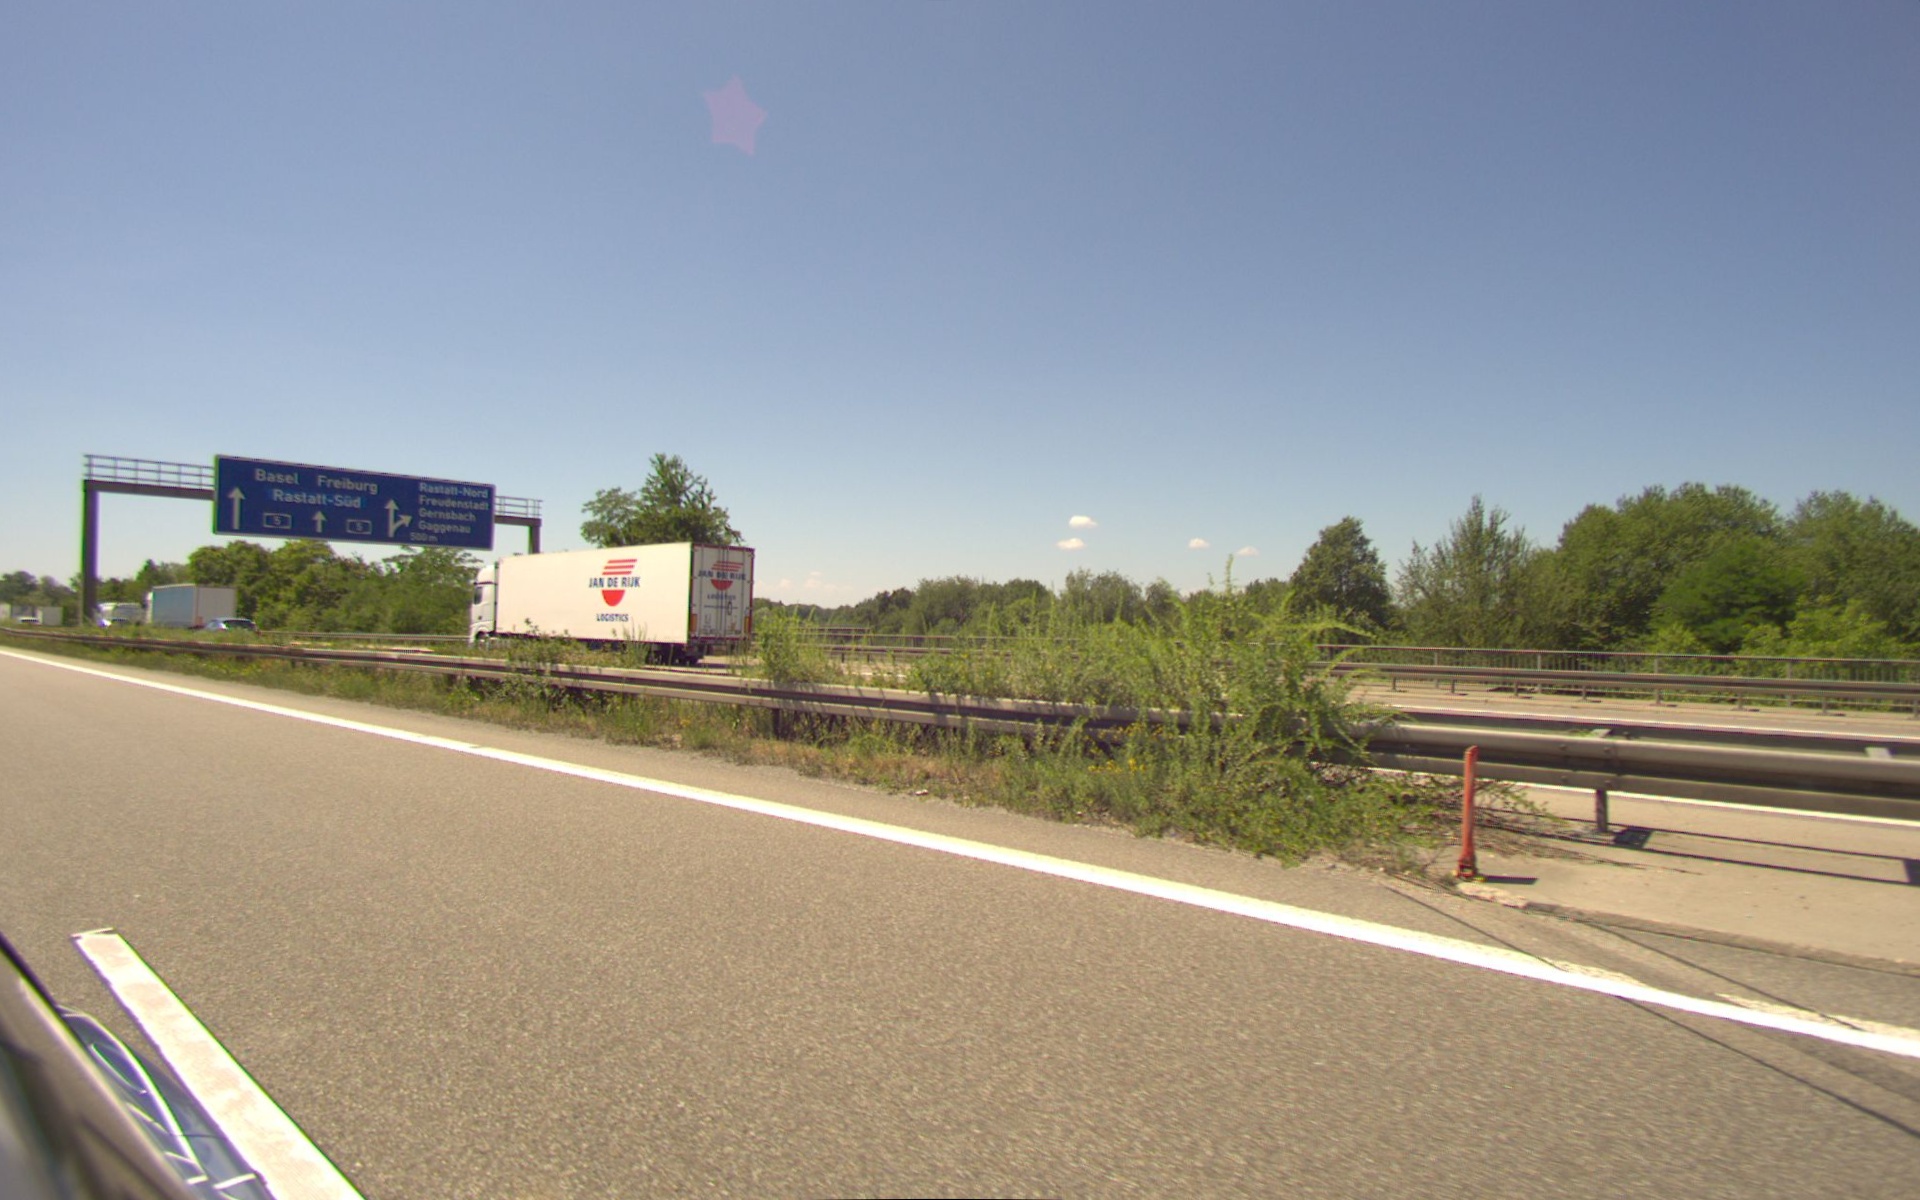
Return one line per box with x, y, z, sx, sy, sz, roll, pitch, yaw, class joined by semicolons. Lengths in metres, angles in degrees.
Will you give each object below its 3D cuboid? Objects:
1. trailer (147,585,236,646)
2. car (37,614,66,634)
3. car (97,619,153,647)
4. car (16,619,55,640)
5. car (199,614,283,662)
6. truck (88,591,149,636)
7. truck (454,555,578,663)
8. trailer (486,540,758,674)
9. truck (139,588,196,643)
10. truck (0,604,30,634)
-59.458;1.185;78.084;13.941;4.339;2.715;-1;0;41;trailer
-122.507;3.246;136.405;4.517;2.556;2.339;-1;-2;41;car
-50.221;1.967;60.844;3.998;1.650;1.973;-1;-2;41;car
-78.302;2.473;85.685;3.998;1.735;1.973;-1;-2;41;car
-30.200;1.574;42.470;3.998;1.905;1.973;-1;-2;41;car
-82.246;1.287;98.822;8.602;4.166;3.201;-1;0;41;truck
-18.621;0.378;42.378;5.292;4.238;2.715;-1;0;41;truck
-13.012;0.292;37.588;13.938;4.238;2.715;-1;0;40;trailer
-64.806;1.273;82.739;5.052;4.335;2.715;-1;0;41;truck
-142.513;2.789;152.254;8.237;4.386;2.900;-1;0;41;truck
